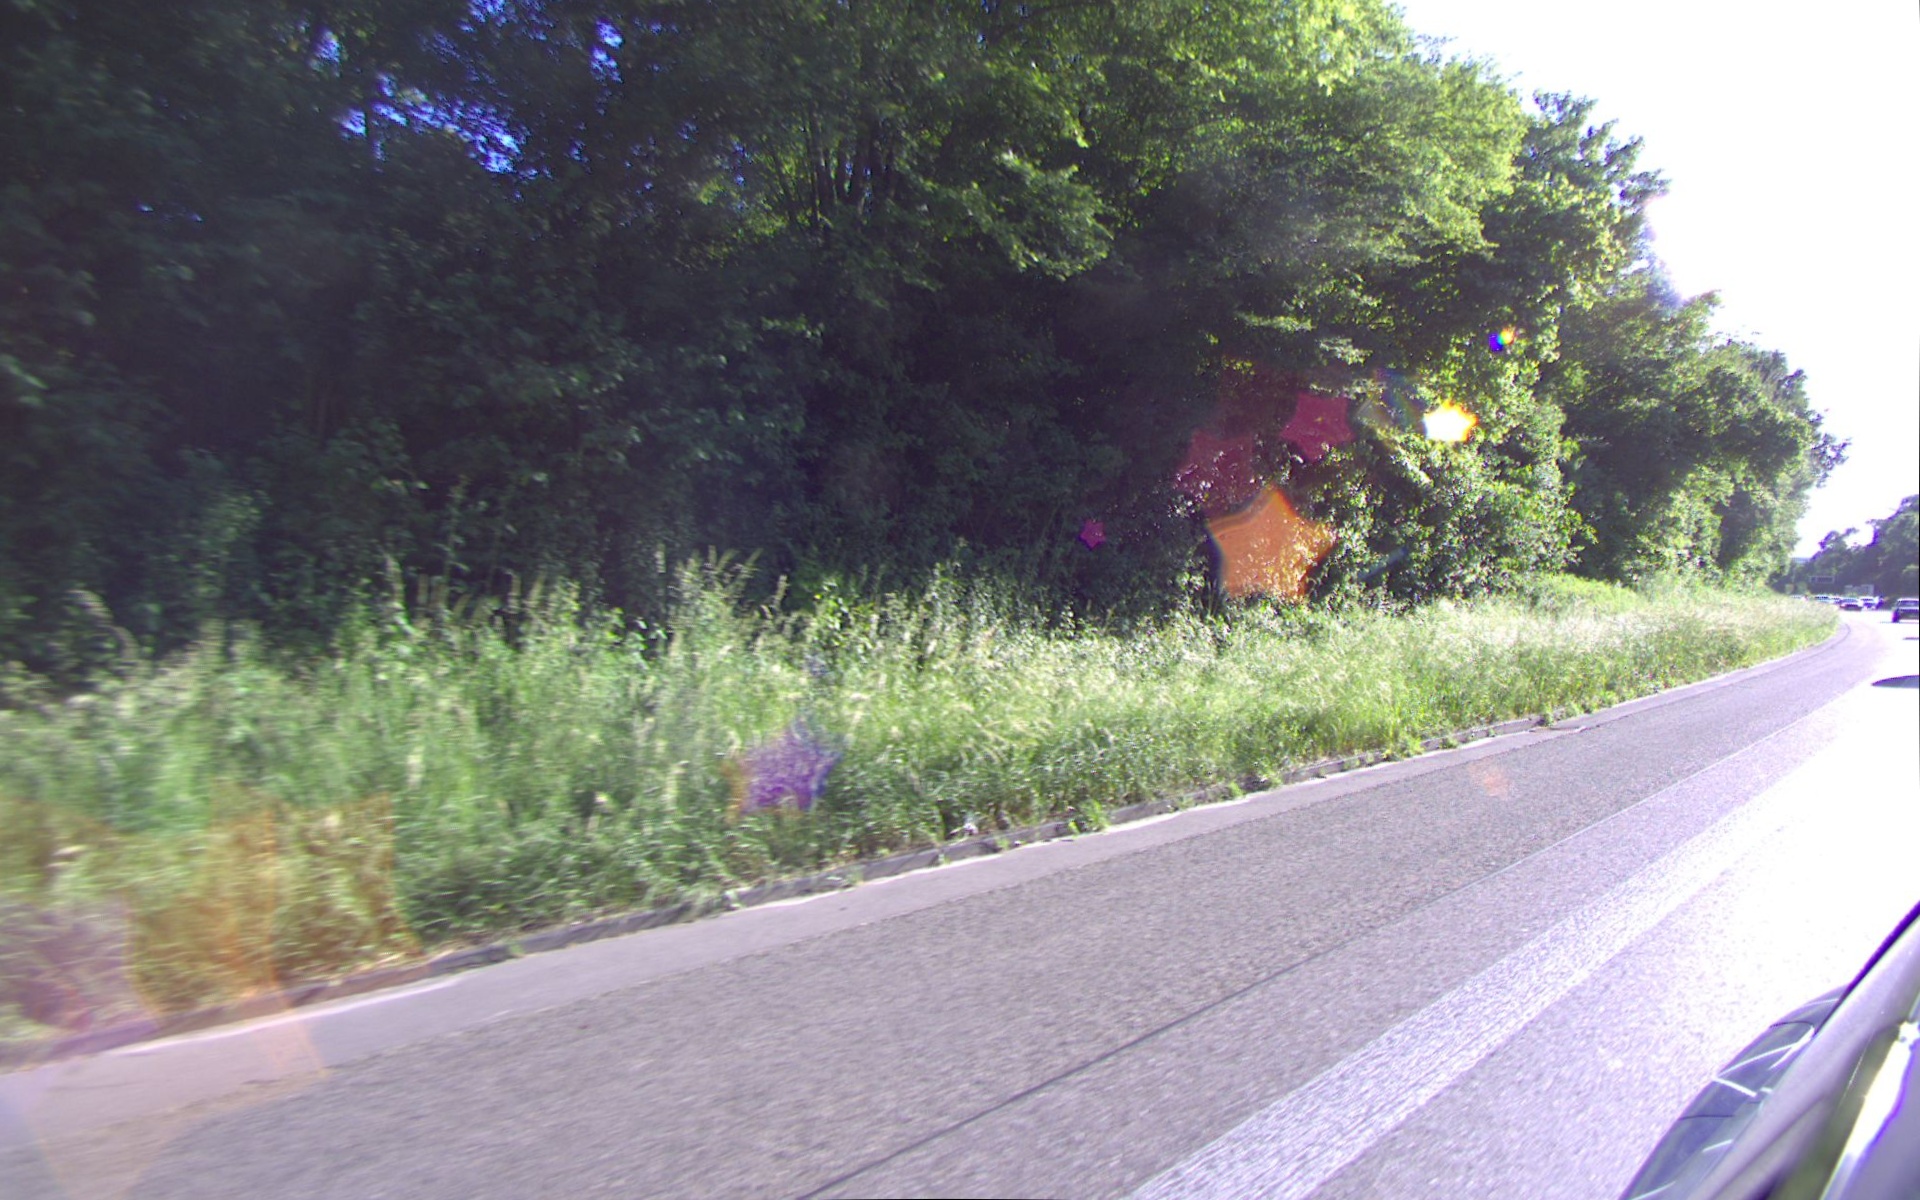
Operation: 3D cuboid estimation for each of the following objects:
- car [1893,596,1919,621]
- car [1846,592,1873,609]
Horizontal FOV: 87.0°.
[{"bbox_3d":[62.860,0.553,66.478,1.927,1.526,5.013,4,2,39],"label":"car"},{"bbox_3d":[95.745,0.060,107.758,1.926,1.526,5.016,0,2,39],"label":"car"}]
